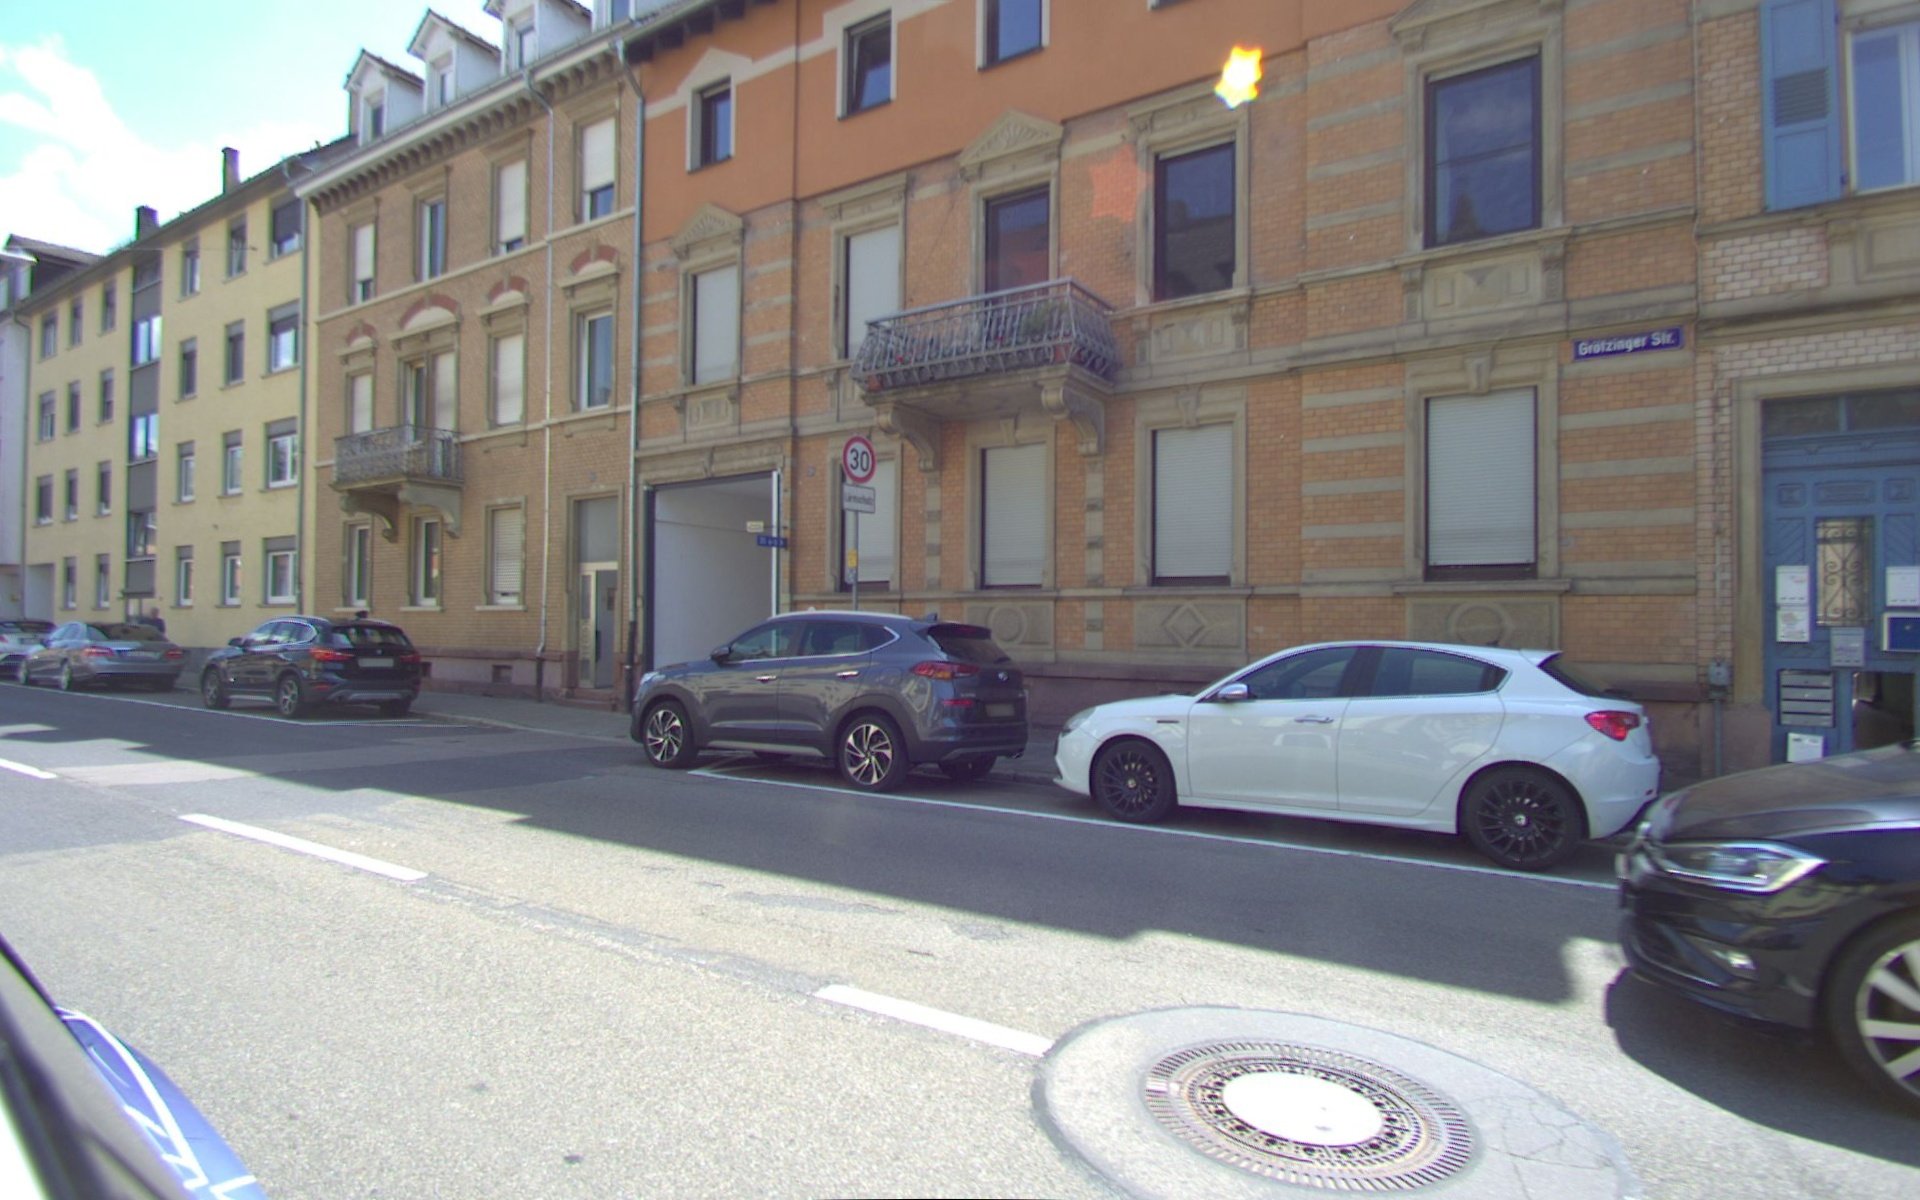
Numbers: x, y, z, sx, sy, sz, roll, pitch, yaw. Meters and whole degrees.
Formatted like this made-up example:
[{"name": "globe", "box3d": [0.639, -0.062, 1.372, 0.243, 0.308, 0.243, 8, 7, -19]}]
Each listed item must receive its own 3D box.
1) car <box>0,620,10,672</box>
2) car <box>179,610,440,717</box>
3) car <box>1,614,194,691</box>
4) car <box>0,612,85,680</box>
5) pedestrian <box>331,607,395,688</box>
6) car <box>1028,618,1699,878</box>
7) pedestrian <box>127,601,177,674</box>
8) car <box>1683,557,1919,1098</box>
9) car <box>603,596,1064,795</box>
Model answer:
[{"name": "car", "box3d": [-28.245, 1.200, 28.176, 3.905, 1.422, 1.730, 0, -5, 34]}, {"name": "car", "box3d": [-10.903, 1.025, 16.882, 4.486, 1.563, 1.850, 0, -5, 32]}, {"name": "car", "box3d": [-18.666, 1.107, 21.847, 4.673, 1.463, 1.889, 0, -5, 34]}, {"name": "car", "box3d": [-24.040, 1.126, 25.465, 4.301, 1.563, 1.850, 0, -5, 33]}, {"name": "pedestrian", "box3d": [-11.794, 0.925, 20.000, 0.874, 1.546, 0.795, -1, -2, 38]}, {"name": "car", "box3d": [2.866, 0.933, 7.702, 4.318, 1.437, 1.850, 0, -5, 33]}, {"name": "pedestrian", "box3d": [-20.126, 0.931, 25.208, 0.875, 1.769, 0.794, -1, -2, 41]}, {"name": "car", "box3d": [4.579, 0.646, 2.653, 4.232, 1.506, 1.746, -1, -2, 32]}, {"name": "car", "box3d": [-1.378, 0.866, 10.365, 4.486, 1.640, 1.850, 0, -5, 32]}]
